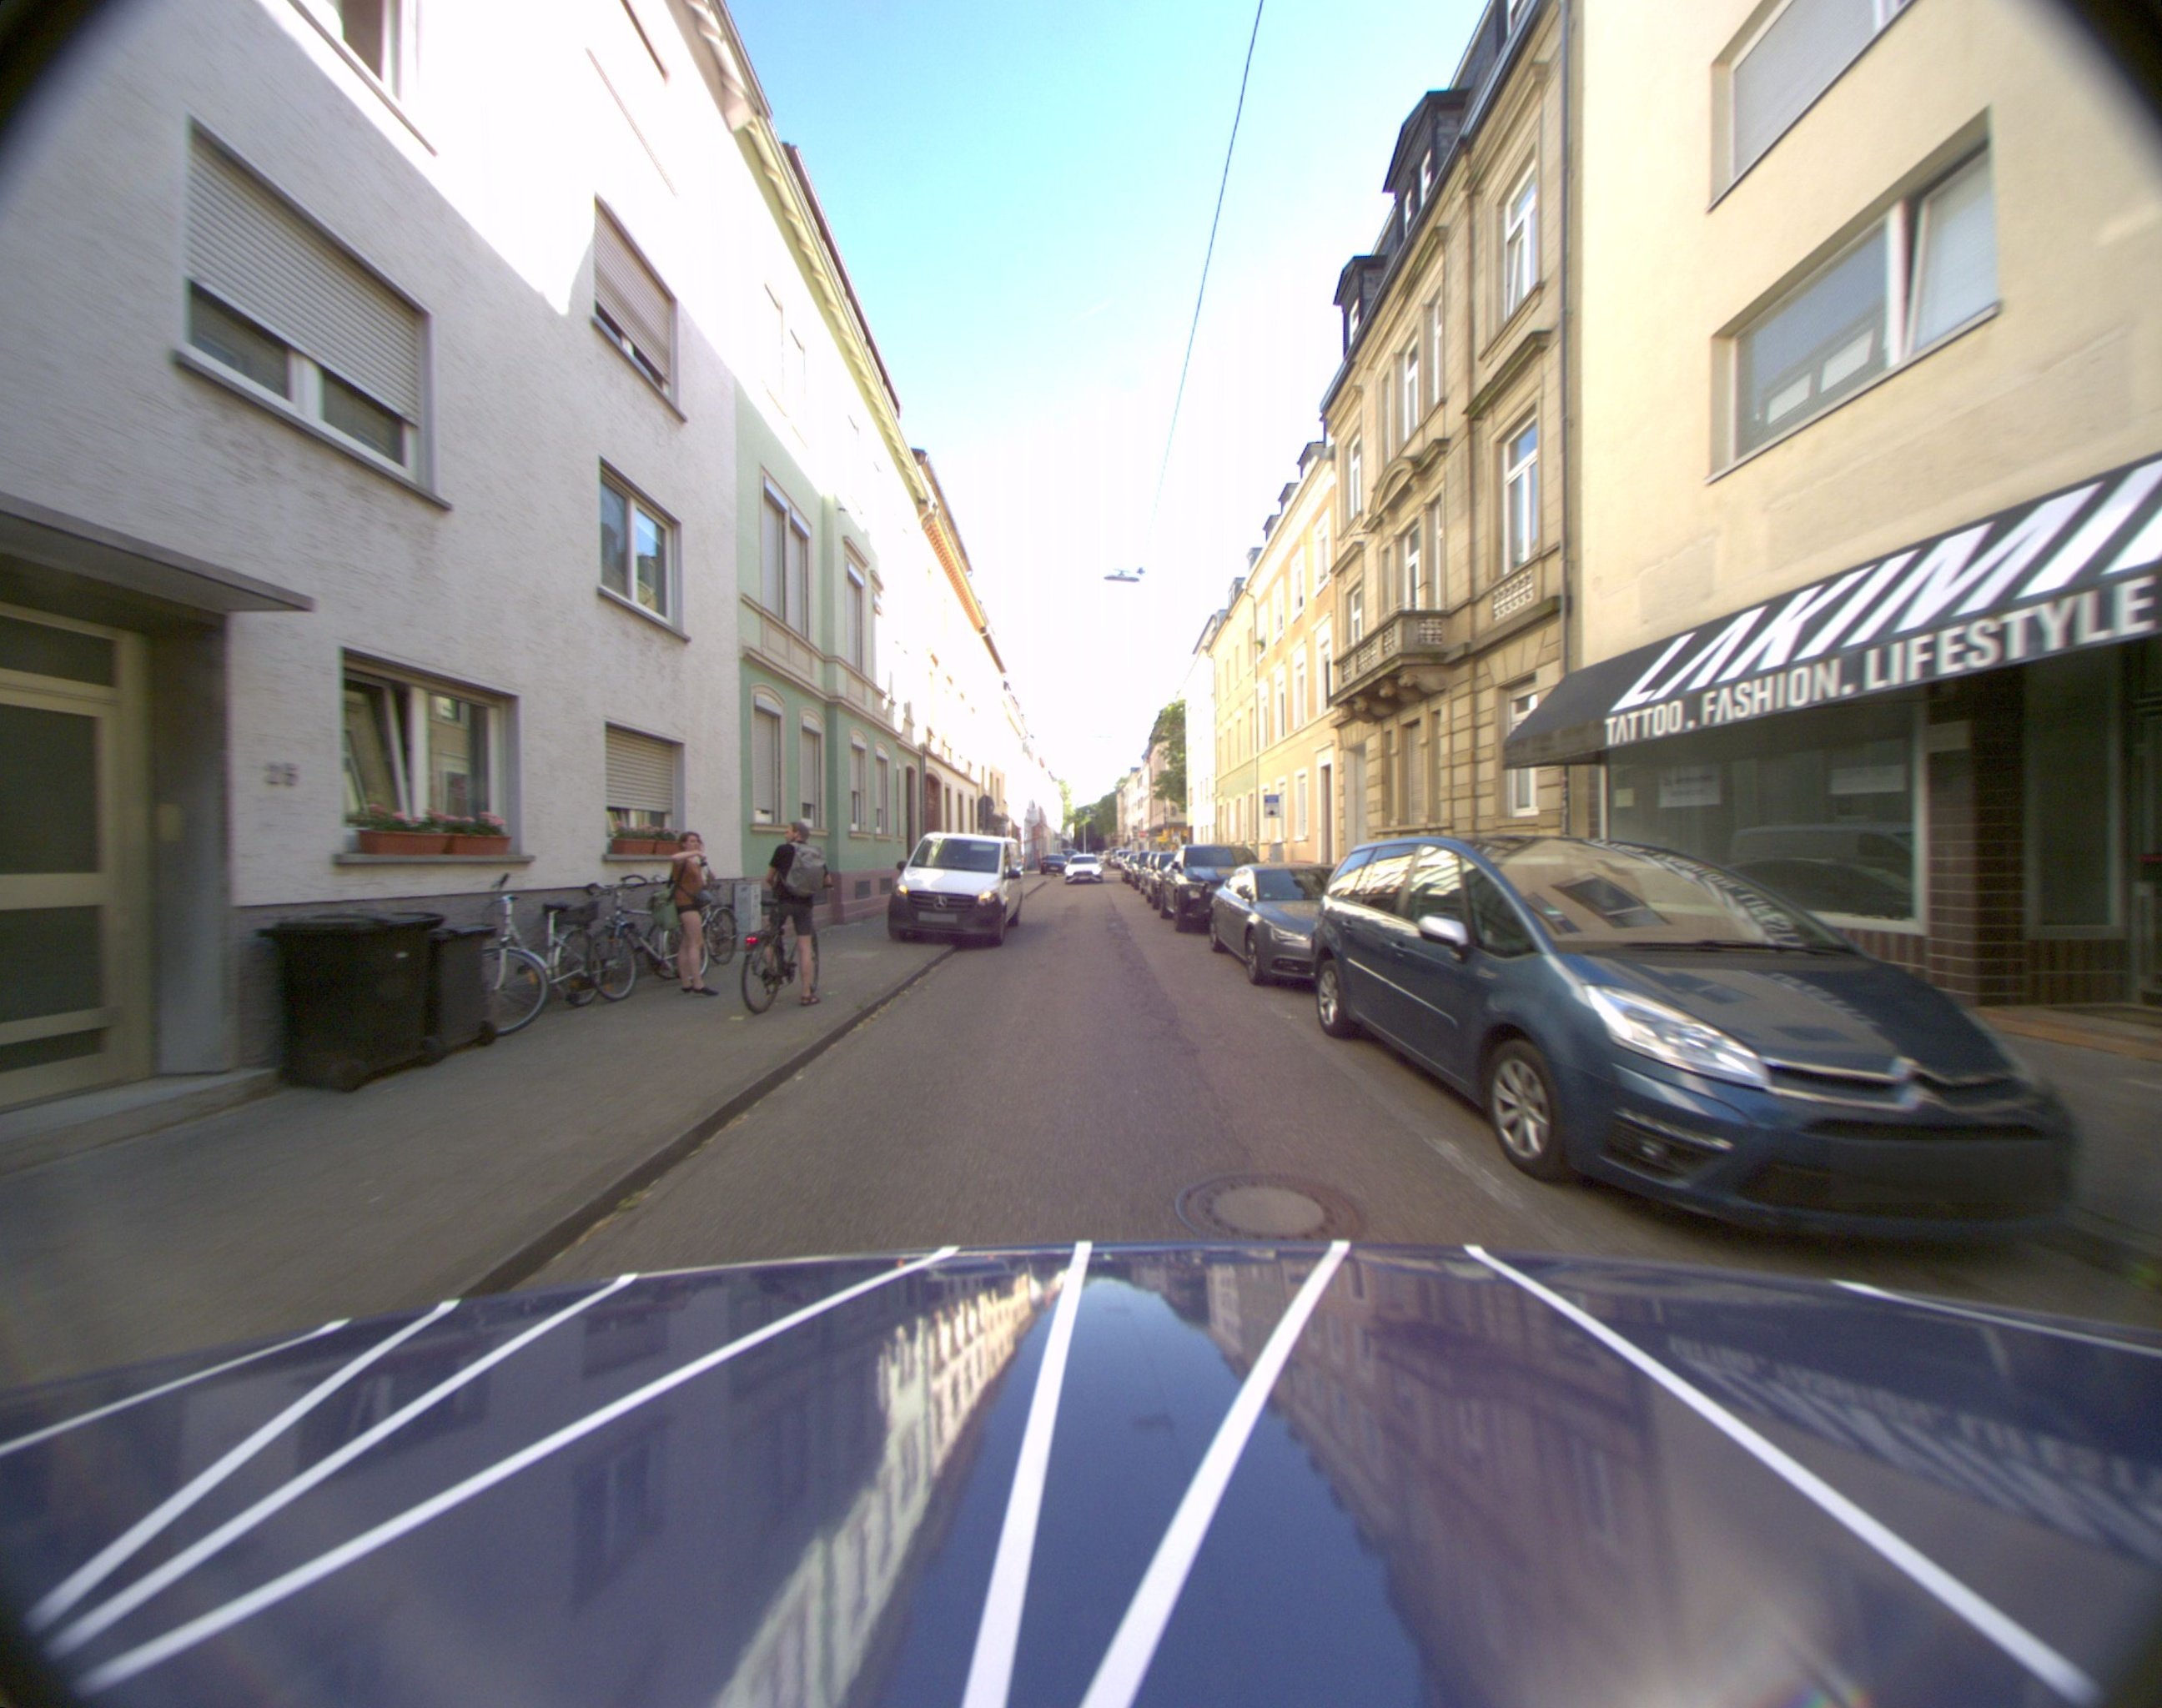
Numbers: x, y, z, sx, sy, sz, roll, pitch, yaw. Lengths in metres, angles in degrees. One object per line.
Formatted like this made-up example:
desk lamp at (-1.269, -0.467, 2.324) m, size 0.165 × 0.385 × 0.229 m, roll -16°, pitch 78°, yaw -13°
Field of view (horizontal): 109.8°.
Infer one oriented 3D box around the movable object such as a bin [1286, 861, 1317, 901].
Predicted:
movable object such as a bin at (6.342, 0.764, 21.862) m, size 0.721 × 1.125 × 0.584 m, roll 0°, pitch 2°, yaw -3°

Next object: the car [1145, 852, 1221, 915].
car at (2.768, 0.745, 21.446) m, size 1.717 × 1.522 × 4.367 m, roll 1°, pitch 1°, yaw 2°

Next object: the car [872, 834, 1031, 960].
car at (-2.224, 0.654, 14.741) m, size 1.988 × 1.873 × 5.599 m, roll 3°, pitch 0°, yaw 0°

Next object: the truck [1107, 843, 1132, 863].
truck at (4.548, -0.174, 90.836) m, size 2.171 × 2.295 × 6.344 m, roll 1°, pitch 1°, yaw -5°

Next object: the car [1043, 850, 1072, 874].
car at (-1.587, 0.520, 53.057) m, size 1.805 × 1.570 × 4.896 m, roll -1°, pitch 1°, yaw 1°

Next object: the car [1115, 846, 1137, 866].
car at (4.350, 0.189, 73.473) m, size 1.771 × 1.888 × 4.808 m, roll 1°, pitch 0°, yaw -1°

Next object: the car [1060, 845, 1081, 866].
car at (-1.066, 0.121, 78.002) m, size 1.975 × 2.017 × 4.898 m, roll -2°, pitch 1°, yaw 0°

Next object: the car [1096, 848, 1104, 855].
car at (4.475, -0.550, 178.073) m, size 1.786 × 1.674 × 4.021 m, roll 0°, pitch 1°, yaw 1°

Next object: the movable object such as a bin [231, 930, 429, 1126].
movable object such as a bin at (-4.586, 1.035, 4.679) m, size 0.617 × 1.056 × 0.603 m, roll 1°, pitch 1°, yaw 0°

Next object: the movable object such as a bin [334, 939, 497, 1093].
movable object such as a bin at (-4.603, 1.095, 5.290) m, size 0.578 × 0.919 × 0.607 m, roll 2°, pitch 1°, yaw 1°

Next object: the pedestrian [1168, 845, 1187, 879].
pedestrian at (5.301, 0.409, 41.915) m, size 0.913 × 1.822 × 1.245 m, roll 0°, pitch 2°, yaw 0°

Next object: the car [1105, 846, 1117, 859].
car at (4.998, -0.303, 128.728) m, size 1.913 × 2.076 × 4.696 m, roll 0°, pitch 1°, yaw 1°

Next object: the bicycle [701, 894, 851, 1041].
bicycle at (-2.888, 1.018, 7.443) m, size 0.665 × 1.130 × 1.988 m, roll 2°, pitch 0°, yaw -1°

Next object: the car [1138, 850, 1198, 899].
car at (2.926, 0.657, 26.210) m, size 1.619 × 1.545 × 3.977 m, roll 0°, pitch 1°, yaw 0°

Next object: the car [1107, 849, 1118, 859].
car at (5.122, 0.019, 122.224) m, size 1.730 × 1.484 × 4.115 m, roll -1°, pitch 0°, yaw 2°

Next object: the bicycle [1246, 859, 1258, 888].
bicycle at (6.539, 0.738, 29.159) m, size 0.361 × 1.023 × 1.918 m, roll 0°, pitch 1°, yaw 10°

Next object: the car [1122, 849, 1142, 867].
car at (4.481, 0.361, 67.256) m, size 1.671 × 1.551 × 3.722 m, roll 0°, pitch 1°, yaw 2°

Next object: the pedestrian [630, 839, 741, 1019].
pedestrian at (-3.923, 0.703, 7.576) m, size 0.656 × 1.702 × 0.687 m, roll 0°, pitch 2°, yaw 13°

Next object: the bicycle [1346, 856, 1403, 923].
bicycle at (6.090, 0.709, 15.866) m, size 0.512 × 1.270 × 1.867 m, roll 0°, pitch 1°, yaw 2°

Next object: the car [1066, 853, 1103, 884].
car at (0.215, 0.674, 38.298) m, size 1.761 × 1.399 × 4.021 m, roll 0°, pitch 1°, yaw 1°

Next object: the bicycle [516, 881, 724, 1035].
bicycle at (-4.487, 0.931, 7.643) m, size 0.438 × 1.199 × 2.267 m, roll 0°, pitch 1°, yaw 7°

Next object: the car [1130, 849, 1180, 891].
car at (3.044, 0.609, 32.004) m, size 1.748 × 1.605 × 4.603 m, roll 1°, pitch 0°, yaw 1°

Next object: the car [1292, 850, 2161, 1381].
car at (2.848, 0.823, 4.745) m, size 1.787 × 1.657 × 4.670 m, roll 1°, pitch 1°, yaw 1°

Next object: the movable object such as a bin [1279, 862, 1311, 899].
movable object such as a bin at (6.332, 0.782, 22.483) m, size 0.737 × 1.082 × 0.682 m, roll 0°, pitch 0°, yaw -3°

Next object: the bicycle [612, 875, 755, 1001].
bicycle at (-4.592, 0.904, 8.980) m, size 0.406 × 1.199 × 2.159 m, roll 0°, pitch 1°, yaw 4°

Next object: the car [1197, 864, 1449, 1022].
car at (2.825, 0.941, 10.130) m, size 1.850 × 1.409 × 4.817 m, roll 1°, pitch 1°, yaw 1°

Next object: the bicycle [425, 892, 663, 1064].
bicycle at (-4.487, 0.962, 6.554) m, size 0.570 × 1.147 × 1.868 m, roll 0°, pitch 1°, yaw 5°

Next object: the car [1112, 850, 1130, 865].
car at (4.165, 0.373, 79.479) m, size 1.669 × 1.514 × 4.488 m, roll 1°, pitch 0°, yaw 0°

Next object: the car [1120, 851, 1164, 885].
car at (2.974, 0.637, 37.865) m, size 1.718 × 1.480 × 4.851 m, roll 2°, pitch 1°, yaw 0°

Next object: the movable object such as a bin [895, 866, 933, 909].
movable object such as a bin at (-4.349, 0.870, 19.806) m, size 0.814 × 1.082 × 0.673 m, roll 0°, pitch 2°, yaw 3°

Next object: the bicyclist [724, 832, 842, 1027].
bicyclist at (-2.845, 0.693, 7.334) m, size 0.762 × 1.760 × 0.822 m, roll 2°, pitch 0°, yaw -1°

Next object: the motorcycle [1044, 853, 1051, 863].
motorcycle at (-3.592, 0.417, 81.078) m, size 0.638 × 1.038 × 2.362 m, roll 0°, pitch 1°, yaw -1°

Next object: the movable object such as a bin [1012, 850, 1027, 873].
movable object such as a bin at (-3.939, 0.490, 48.876) m, size 0.748 × 1.428 × 1.372 m, roll 2°, pitch 1°, yaw 2°

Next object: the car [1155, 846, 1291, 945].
car at (2.743, 0.703, 15.926) m, size 1.941 × 1.726 × 5.141 m, roll 0°, pitch 1°, yaw 1°
